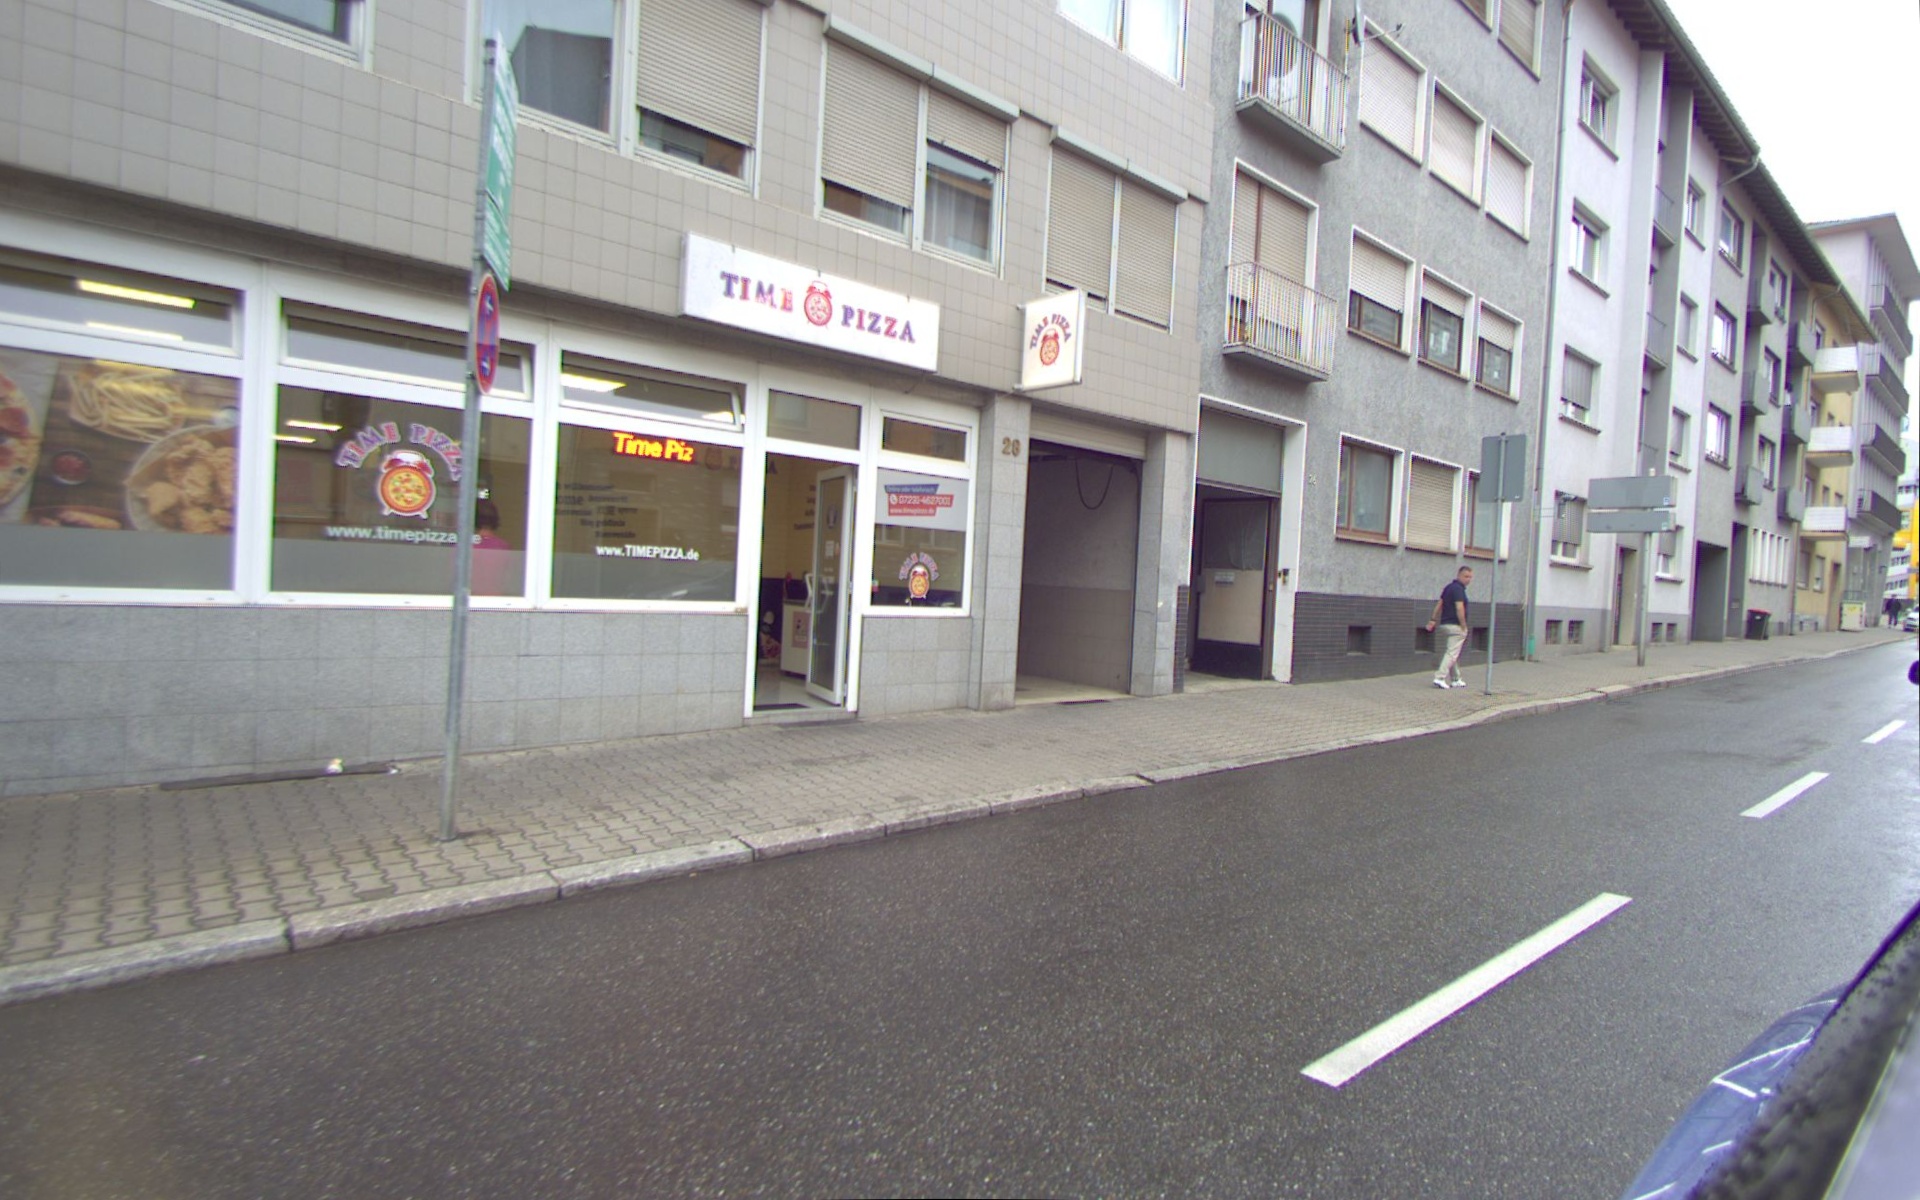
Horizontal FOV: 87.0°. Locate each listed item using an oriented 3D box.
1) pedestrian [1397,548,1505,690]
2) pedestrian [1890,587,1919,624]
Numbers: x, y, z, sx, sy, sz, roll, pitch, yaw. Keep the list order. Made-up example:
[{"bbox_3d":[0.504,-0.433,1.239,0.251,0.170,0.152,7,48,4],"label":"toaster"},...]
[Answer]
[{"bbox_3d":[7.101,0.244,14.632,1.100,1.887,0.871,0,7,-41],"label":"pedestrian"},{"bbox_3d":[47.653,0.257,50.930,1.117,1.772,0.946,4,3,44],"label":"pedestrian"}]
